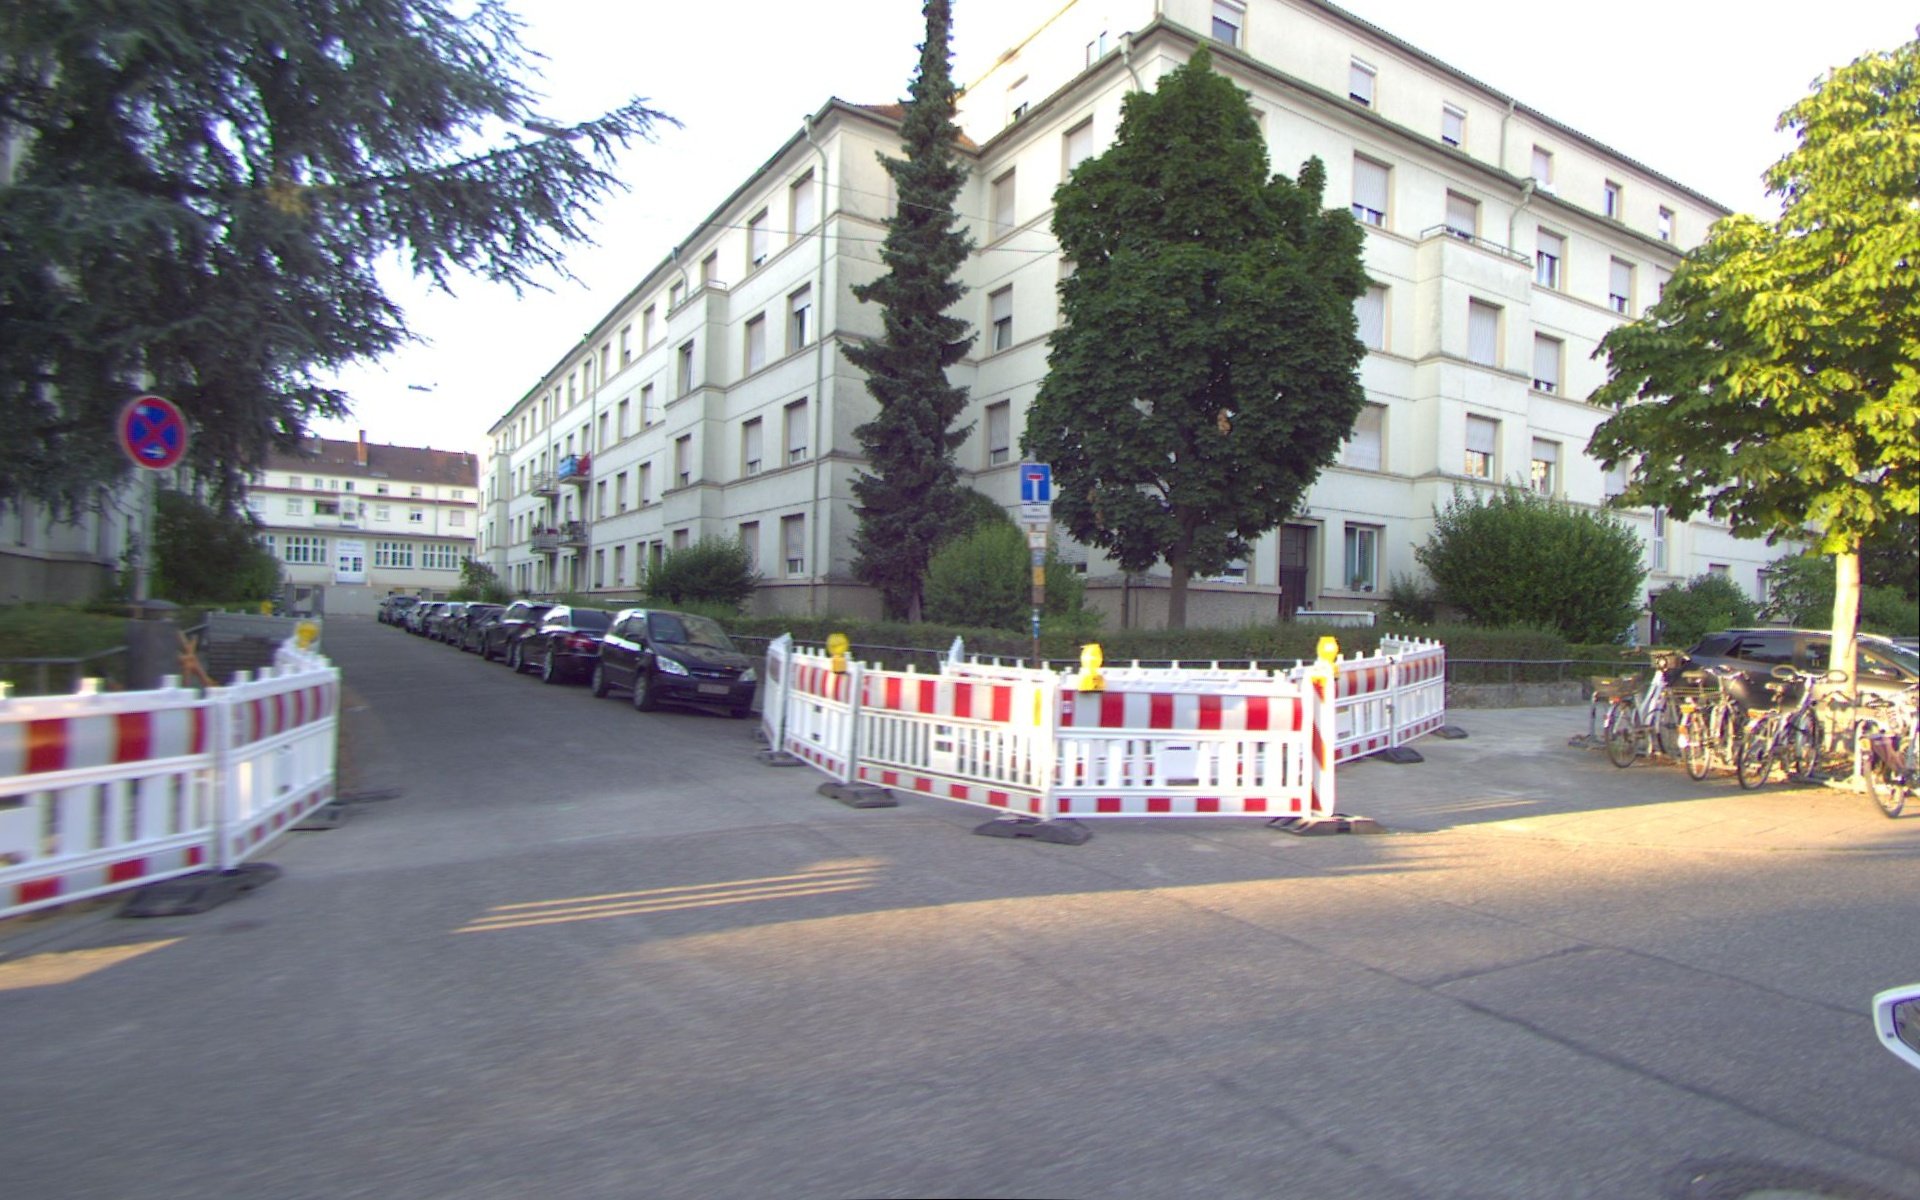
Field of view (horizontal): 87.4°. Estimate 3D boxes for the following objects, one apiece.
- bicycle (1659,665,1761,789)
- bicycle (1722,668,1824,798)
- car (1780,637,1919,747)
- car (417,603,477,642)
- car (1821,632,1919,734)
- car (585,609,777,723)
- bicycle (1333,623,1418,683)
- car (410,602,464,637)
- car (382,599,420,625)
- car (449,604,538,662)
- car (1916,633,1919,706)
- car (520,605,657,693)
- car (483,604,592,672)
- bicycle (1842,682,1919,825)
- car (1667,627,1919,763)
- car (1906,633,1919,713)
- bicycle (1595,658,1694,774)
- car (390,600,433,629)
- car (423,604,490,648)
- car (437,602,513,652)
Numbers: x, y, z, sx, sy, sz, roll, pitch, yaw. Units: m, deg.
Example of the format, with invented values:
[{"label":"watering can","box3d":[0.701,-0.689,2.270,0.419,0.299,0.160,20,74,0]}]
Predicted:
[{"label":"bicycle","box3d":[7.610,1.251,10.175,1.509,1.173,0.277,2,-1,-32]},{"label":"bicycle","box3d":[7.923,1.259,9.768,1.509,1.173,0.277,2,-1,-32]},{"label":"car","box3d":[13.821,1.315,13.635,1.587,1.403,3.825,2,0,-28]},{"label":"car","box3d":[-20.981,0.898,41.024,1.768,1.447,3.718,4,-2,-32]},{"label":"car","box3d":[15.890,1.352,15.172,1.707,1.504,4.015,2,0,-28]},{"label":"car","box3d":[-4.362,0.942,15.352,1.768,1.479,3.718,4,-2,-32]},{"label":"bicycle","box3d":[9.734,1.221,23.601,0.439,1.336,1.876,2,-1,-37]},{"label":"car","box3d":[-23.499,0.856,45.052,1.768,1.447,3.718,4,-2,-32]},{"label":"car","box3d":[-34.134,0.698,61.339,1.768,1.447,3.718,4,-2,-32]},{"label":"car","box3d":[-13.337,0.909,28.614,1.768,1.447,3.718,4,-2,-32]},{"label":"car","box3d":[21.430,1.502,19.588,1.707,1.504,3.684,2,0,-28]},{"label":"car","box3d":[-7.247,0.894,19.389,1.668,1.479,3.718,4,-2,-32]},{"label":"car","box3d":[-10.139,0.871,23.969,1.768,1.447,3.594,4,-2,-32]},{"label":"bicycle","box3d":[8.309,1.297,8.780,1.611,1.110,0.444,2,-1,-32]},{"label":"car","box3d":[11.515,1.174,13.008,1.740,1.462,3.428,2,0,-28]},{"label":"car","box3d":[19.955,1.463,17.676,1.707,1.504,4.488,2,0,-28]},{"label":"bicycle","box3d":[7.366,1.219,10.784,1.509,1.173,0.277,2,-1,-32]},{"label":"car","box3d":[-30.191,0.807,55.269,1.768,1.447,3.718,4,-2,-32]},{"label":"car","box3d":[-18.259,0.912,36.354,1.768,1.447,3.718,4,-2,-32]},{"label":"car","box3d":[-15.858,0.849,32.774,1.768,1.447,3.718,4,-2,-32]}]
